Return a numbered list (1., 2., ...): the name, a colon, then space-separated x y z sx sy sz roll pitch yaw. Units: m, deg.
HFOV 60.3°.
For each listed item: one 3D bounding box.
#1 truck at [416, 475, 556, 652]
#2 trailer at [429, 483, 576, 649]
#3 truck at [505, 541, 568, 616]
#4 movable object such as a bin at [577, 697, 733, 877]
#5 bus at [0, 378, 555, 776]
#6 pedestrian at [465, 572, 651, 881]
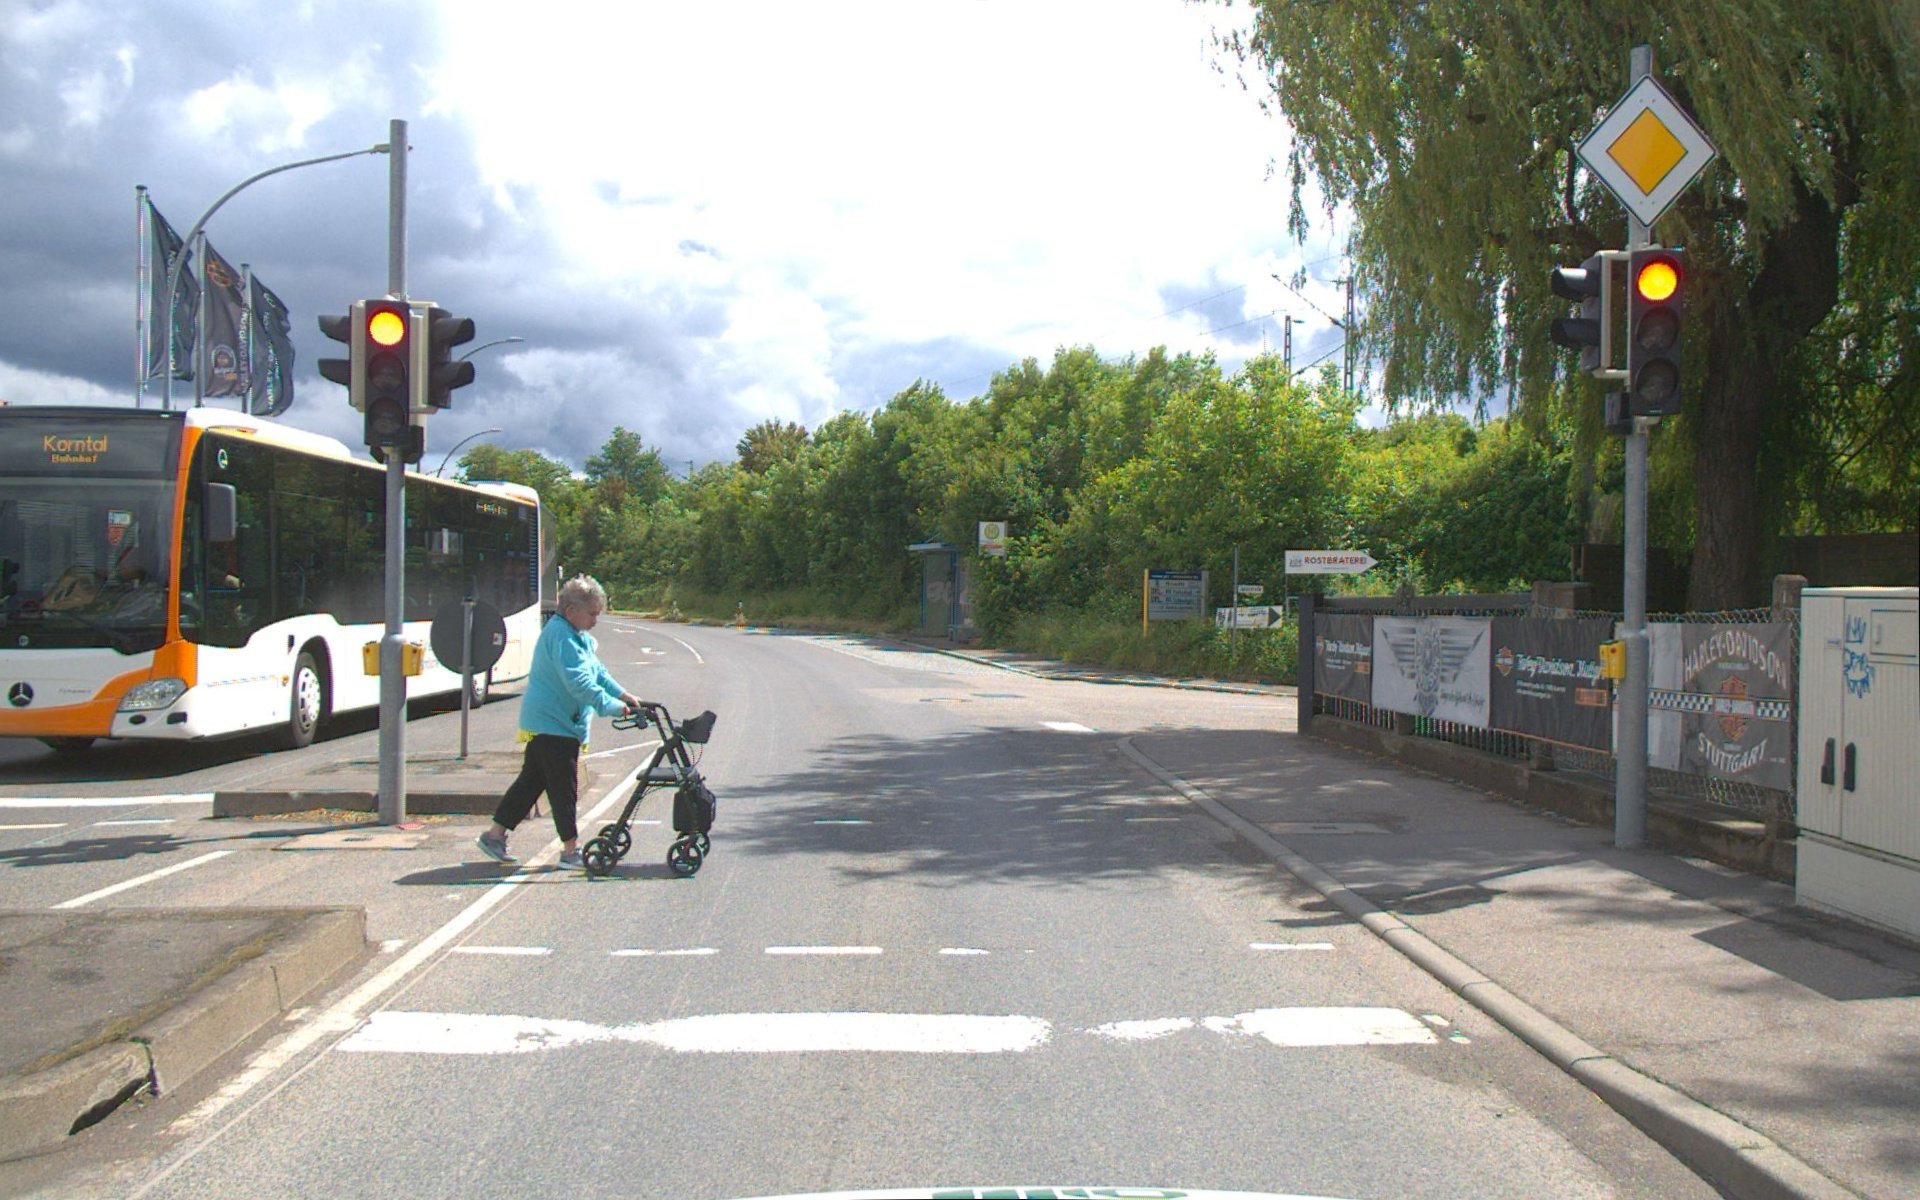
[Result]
1. truck: -11.970 -0.842 42.288 2.748 4.124 6.484 1 0 -10
2. trailer: -13.264 -0.836 49.187 2.748 4.124 15.516 1 0 -10
3. truck: -24.672 -1.228 96.188 2.735 4.191 4.949 1 0 -24
4. movable object such as a bin: -1.620 0.989 8.879 0.731 0.887 0.670 1 0 -4
5. bus: -7.390 -0.156 18.927 2.663 3.084 12.263 0 0 -1
6. pedestrian: -2.124 0.650 8.835 0.822 1.570 0.733 1 -1 -4
